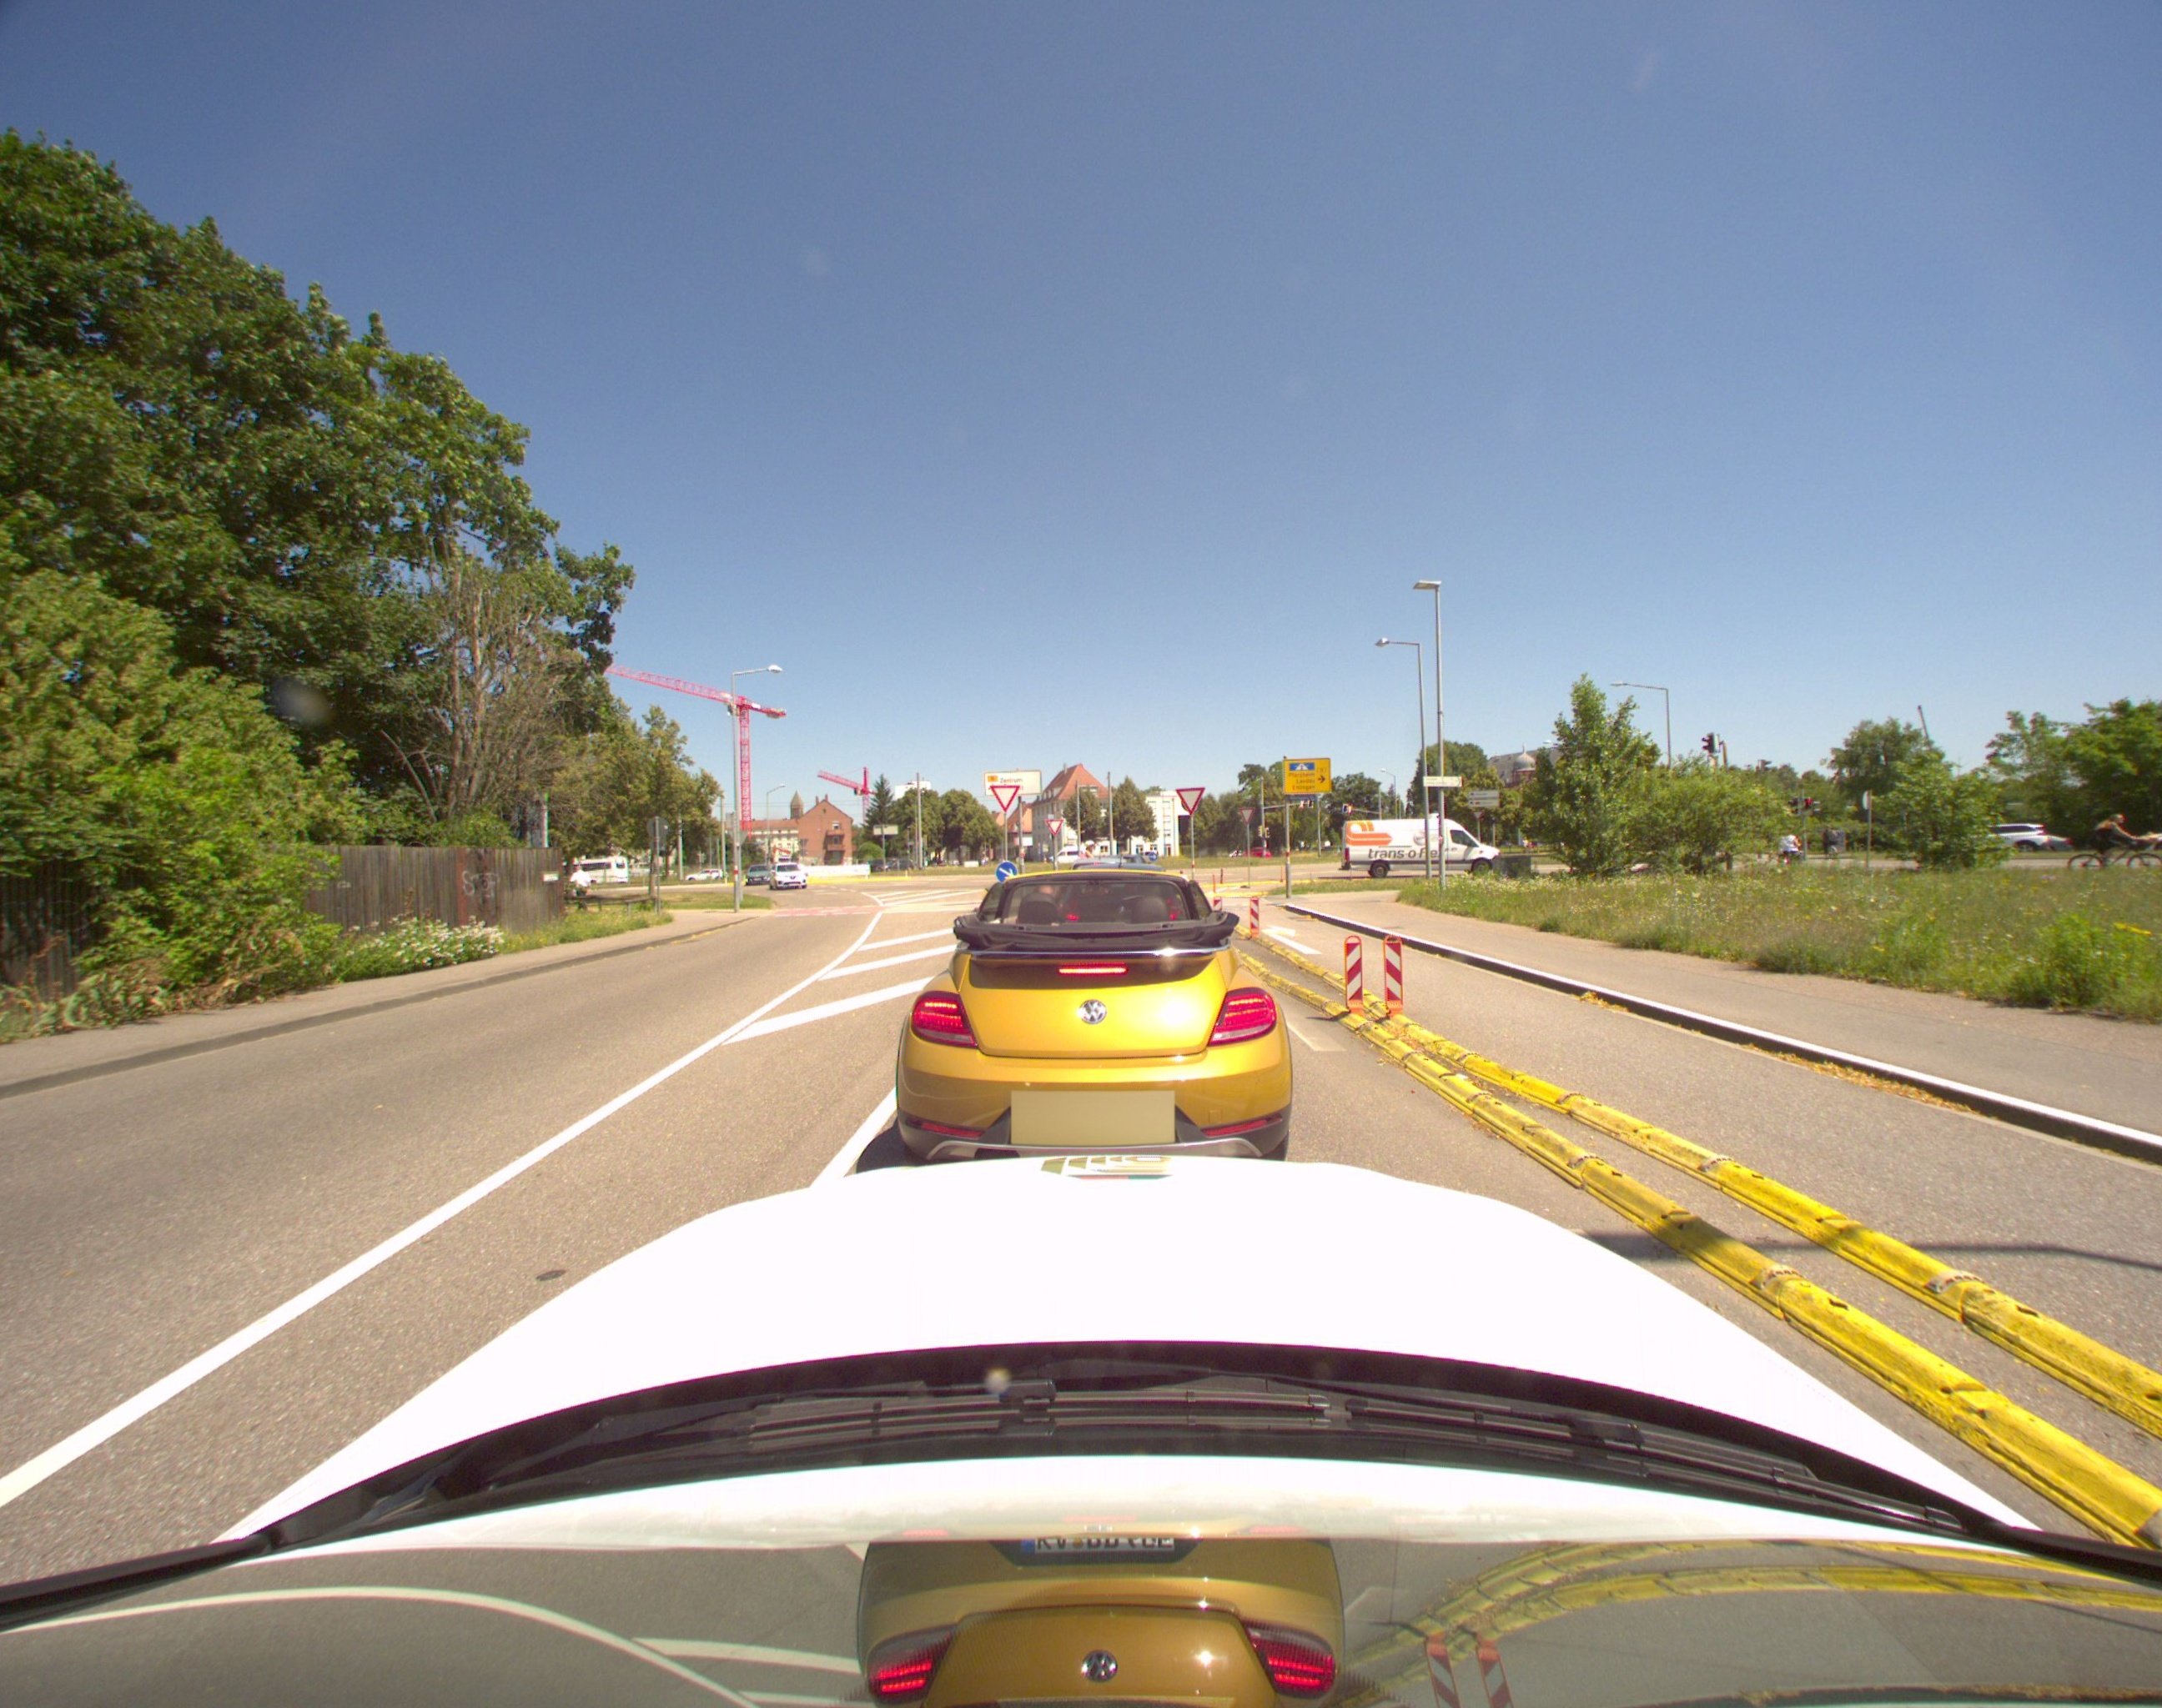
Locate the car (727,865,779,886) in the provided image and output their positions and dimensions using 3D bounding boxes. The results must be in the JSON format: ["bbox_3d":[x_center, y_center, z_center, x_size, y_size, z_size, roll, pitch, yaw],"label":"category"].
[{"bbox_3d":[-22.693,1.492,56.493,1.740,1.371,4.332,0,-1,1],"label":"car"}]

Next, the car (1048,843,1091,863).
[{"bbox_3d":[-1.468,-0.082,101.101,5.297,2.397,1.992,0,-1,-2],"label":"car"}]

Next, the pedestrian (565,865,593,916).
[{"bbox_3d":[-17.958,1.287,29.108,0.957,1.786,0.641,-1,-1,44],"label":"pedestrian"}]

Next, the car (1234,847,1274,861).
[{"bbox_3d":[21.146,0.045,99.628,4.291,1.654,1.913,-1,-1,42],"label":"car"}]

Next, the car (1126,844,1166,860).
[{"bbox_3d":[8.838,-0.272,110.369,5.276,2.070,2.000,-1,-1,11],"label":"car"}]

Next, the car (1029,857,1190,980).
[{"bbox_3d":[0.405,0.769,11.743,1.844,1.366,4.260,-2,0,2],"label":"car"}]

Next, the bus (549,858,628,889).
[{"bbox_3d":[-51.458,2.032,85.167,7.210,3.172,2.267,0,-1,9],"label":"bus"}]

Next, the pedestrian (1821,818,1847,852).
[{"bbox_3d":[37.915,-0.938,41.008,0.959,1.660,0.892,-1,-1,44],"label":"pedestrian"}]

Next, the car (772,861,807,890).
[{"bbox_3d":[-17.173,1.228,47.863,1.783,1.527,3.844,-2,0,-22],"label":"car"}]

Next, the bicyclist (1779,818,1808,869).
[{"bbox_3d":[25.769,-0.369,29.473,0.573,1.841,0.603,0,-1,-29],"label":"bicyclist"}]

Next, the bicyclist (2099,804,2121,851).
[{"bbox_3d":[29.012,-0.745,22.965,0.381,1.319,0.352,0,-1,-40],"label":"bicyclist"}]

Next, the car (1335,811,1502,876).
[{"bbox_3d":[15.314,-0.451,37.337,6.815,2.828,2.007,-1,-1,12],"label":"car"}]

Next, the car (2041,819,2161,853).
[{"bbox_3d":[51.464,-0.852,40.646,4.389,1.592,1.860,-1,-1,43],"label":"car"}]

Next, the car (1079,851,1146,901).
[{"bbox_3d":[1.050,0.678,27.700,2.057,1.481,4.545,-2,0,2],"label":"car"}]

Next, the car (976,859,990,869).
[{"bbox_3d":[-17.593,1.844,146.299,1.889,1.772,3.977,0,-1,-17],"label":"car"}]

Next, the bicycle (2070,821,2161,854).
[{"bbox_3d":[29.060,-0.460,22.898,0.371,0.884,1.575,0,-1,-40],"label":"bicycle"}]

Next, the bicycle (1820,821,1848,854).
[{"bbox_3d":[38.014,-0.809,41.117,0.972,1.597,2.900,-1,-1,43],"label":"bicycle"}]

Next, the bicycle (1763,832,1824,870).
[{"bbox_3d":[25.828,-0.103,29.508,2.902,1.353,0.635,0,-1,-27],"label":"bicycle"}]

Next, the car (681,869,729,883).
[{"bbox_3d":[-39.491,2.297,85.695,4.323,1.371,1.744,0,-1,-14],"label":"car"}]

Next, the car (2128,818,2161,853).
[{"bbox_3d":[51.284,-0.865,36.938,4.389,1.592,1.860,-1,-1,43],"label":"car"}]

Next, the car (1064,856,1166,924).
[{"bbox_3d":[0.777,0.751,18.703,2.057,1.382,4.260,0,-1,2],"label":"car"}]

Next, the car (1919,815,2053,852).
[{"bbox_3d":[45.927,-1.005,41.485,4.389,1.736,1.860,-1,-1,43],"label":"car"}]

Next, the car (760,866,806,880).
[{"bbox_3d":[-30.996,1.957,84.616,4.341,1.371,1.736,0,-1,-28],"label":"car"}]

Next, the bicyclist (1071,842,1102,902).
[{"bbox_3d":[0.170,0.538,24.264,0.664,1.752,0.596,-2,1,23],"label":"bicyclist"}]

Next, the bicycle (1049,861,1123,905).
[{"bbox_3d":[0.142,0.868,24.255,2.073,1.221,0.637,-2,0,24],"label":"bicycle"}]

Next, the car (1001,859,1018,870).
[{"bbox_3d":[-11.469,1.666,129.861,1.889,1.772,3.977,0,-1,-17],"label":"car"}]

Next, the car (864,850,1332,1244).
[{"bbox_3d":[0.128,0.747,5.208,1.758,1.481,4.259,0,-1,2],"label":"car"}]
